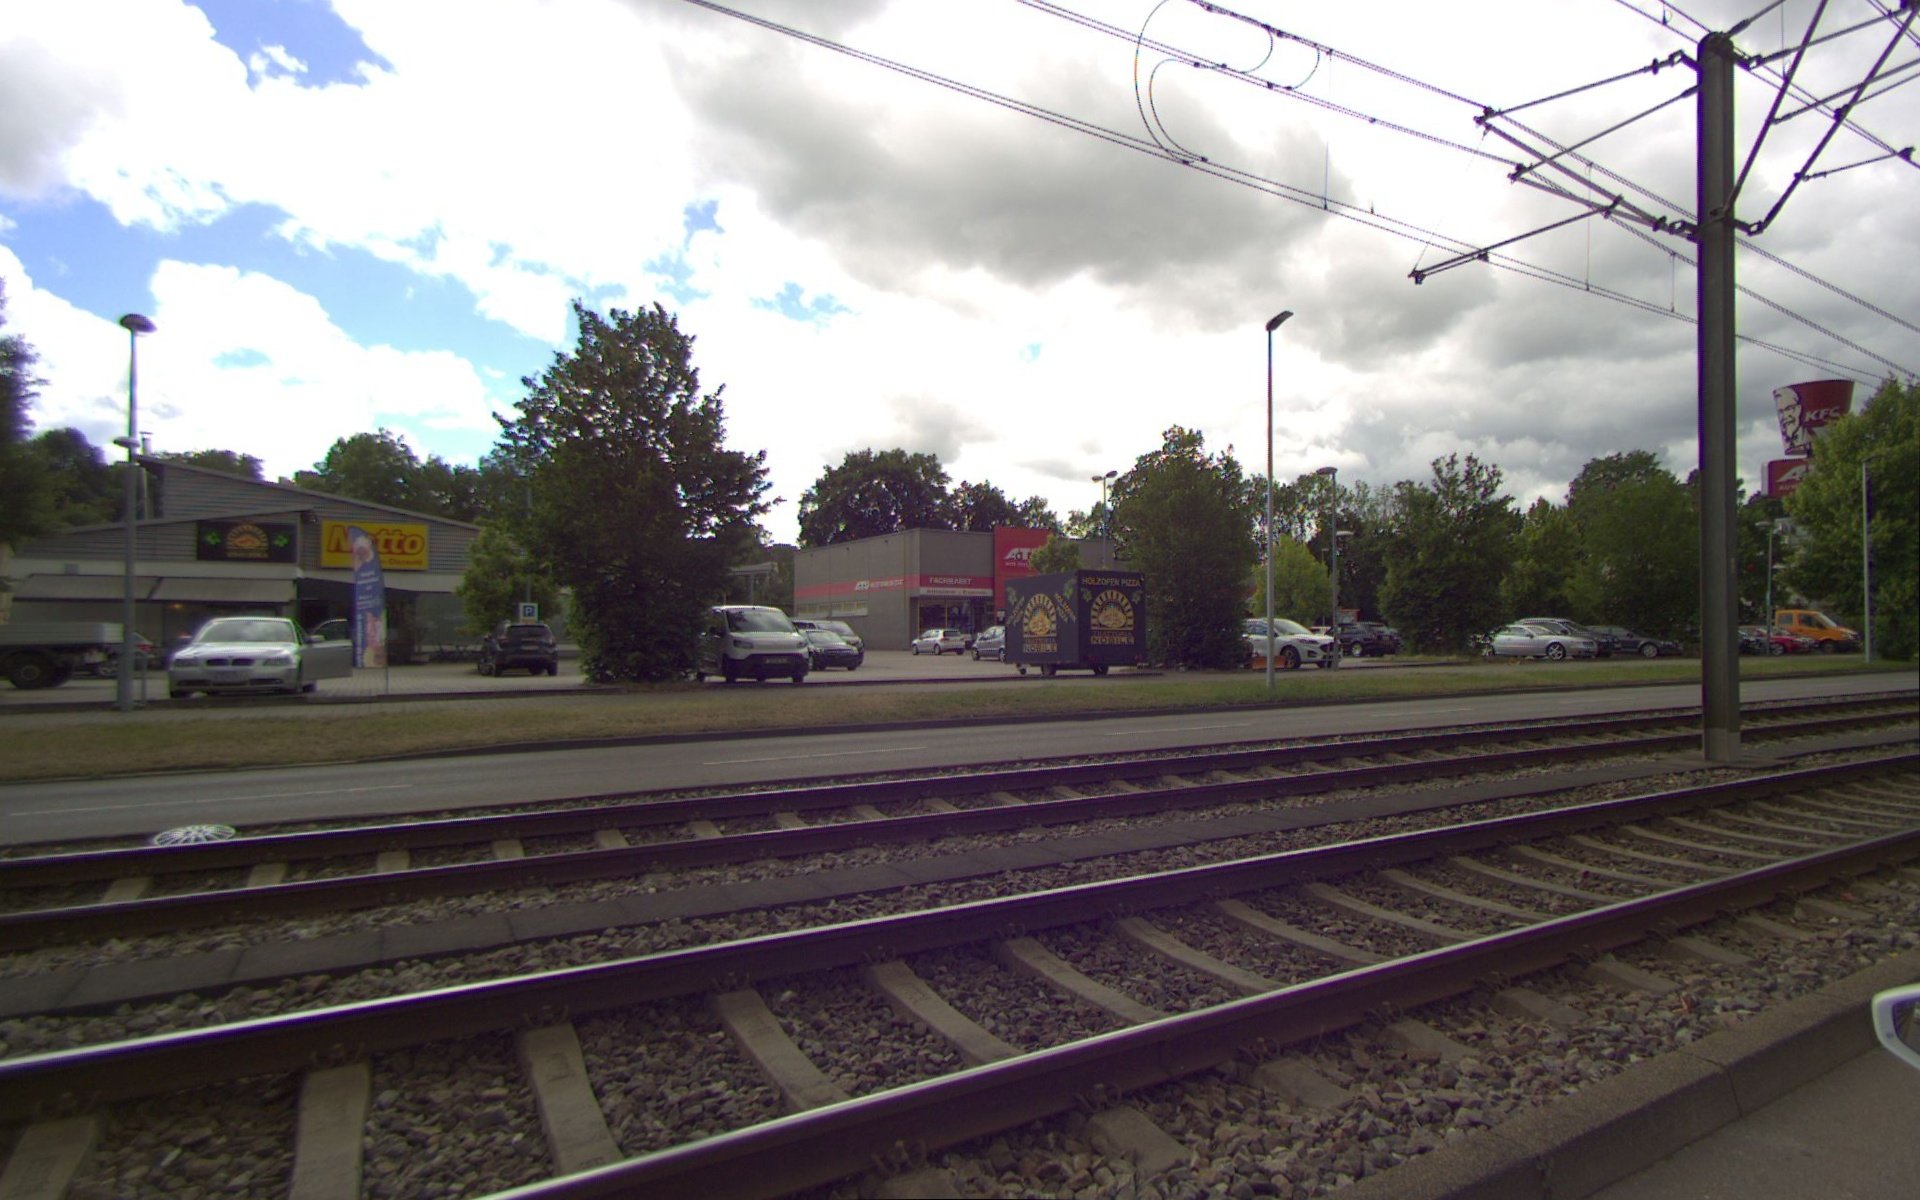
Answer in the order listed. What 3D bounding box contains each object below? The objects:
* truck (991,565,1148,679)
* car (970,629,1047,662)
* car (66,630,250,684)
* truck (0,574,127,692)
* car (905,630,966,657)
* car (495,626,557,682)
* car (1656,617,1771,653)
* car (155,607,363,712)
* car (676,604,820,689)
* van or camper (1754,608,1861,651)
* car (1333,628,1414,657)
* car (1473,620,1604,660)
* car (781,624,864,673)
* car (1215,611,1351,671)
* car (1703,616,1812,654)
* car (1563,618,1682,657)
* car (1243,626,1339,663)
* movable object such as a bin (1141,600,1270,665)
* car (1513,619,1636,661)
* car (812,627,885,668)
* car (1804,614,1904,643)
[{"bbox_3d":[2.920,0.623,27.635,2.350,2.859,3.966,1,-2,-32],"label":"truck"},{"bbox_3d":[2.209,2.111,46.971,1.664,1.491,3.716,1,-2,-36],"label":"car"},{"bbox_3d":[-22.497,1.569,28.387,3.961,1.419,1.599,1,-3,-36],"label":"car"},{"bbox_3d":[-20.985,0.705,20.986,5.202,2.414,1.984,1,-2,-30],"label":"truck"},{"bbox_3d":[-1.438,2.509,58.383,1.752,1.491,3.716,1,-2,-36],"label":"car"},{"bbox_3d":[-13.552,1.649,31.447,1.669,1.617,3.979,0,-2,-23],"label":"car"},{"bbox_3d":[35.672,1.640,47.630,1.859,1.620,3.963,1,-2,-34],"label":"car"},{"bbox_3d":[-12.710,1.011,18.610,2.619,1.650,4.762,0,-1,-29],"label":"car"},{"bbox_3d":[-4.945,1.039,23.027,1.973,1.750,4.199,1,-2,-31],"label":"car"},{"bbox_3d":[44.564,1.527,52.869,1.859,2.163,3.962,1,0,-34],"label":"van or camper"},{"bbox_3d":[22.154,2.285,53.940,1.664,1.491,3.716,1,-2,-36],"label":"car"},{"bbox_3d":[23.087,1.568,40.238,1.661,1.491,4.284,1,-1,-31],"label":"car"},{"bbox_3d":[-5.020,1.726,36.328,1.668,1.661,3.903,1,-2,-30],"label":"car"},{"bbox_3d":[10.493,1.321,32.850,1.859,1.821,3.963,1,-2,-34],"label":"car"},{"bbox_3d":[40.153,1.722,50.638,1.859,1.821,3.962,1,0,-34],"label":"car"},{"bbox_3d":[29.270,1.656,44.472,1.859,1.620,3.963,1,-2,-34],"label":"car"},{"bbox_3d":[16.101,2.166,49.063,1.917,1.706,4.265,1,-2,-30],"label":"car"},{"bbox_3d":[7.780,1.053,32.201,1.661,1.963,3.964,1,-2,-33],"label":"movable object such as a bin"},{"bbox_3d":[25.479,1.652,41.767,1.859,1.656,3.963,1,-2,-34],"label":"car"},{"bbox_3d":[-4.768,1.994,42.632,1.668,1.661,3.903,1,-2,-30],"label":"car"},{"bbox_3d":[51.447,1.634,57.860,1.778,1.620,3.963,1,-2,-34],"label":"car"}]
